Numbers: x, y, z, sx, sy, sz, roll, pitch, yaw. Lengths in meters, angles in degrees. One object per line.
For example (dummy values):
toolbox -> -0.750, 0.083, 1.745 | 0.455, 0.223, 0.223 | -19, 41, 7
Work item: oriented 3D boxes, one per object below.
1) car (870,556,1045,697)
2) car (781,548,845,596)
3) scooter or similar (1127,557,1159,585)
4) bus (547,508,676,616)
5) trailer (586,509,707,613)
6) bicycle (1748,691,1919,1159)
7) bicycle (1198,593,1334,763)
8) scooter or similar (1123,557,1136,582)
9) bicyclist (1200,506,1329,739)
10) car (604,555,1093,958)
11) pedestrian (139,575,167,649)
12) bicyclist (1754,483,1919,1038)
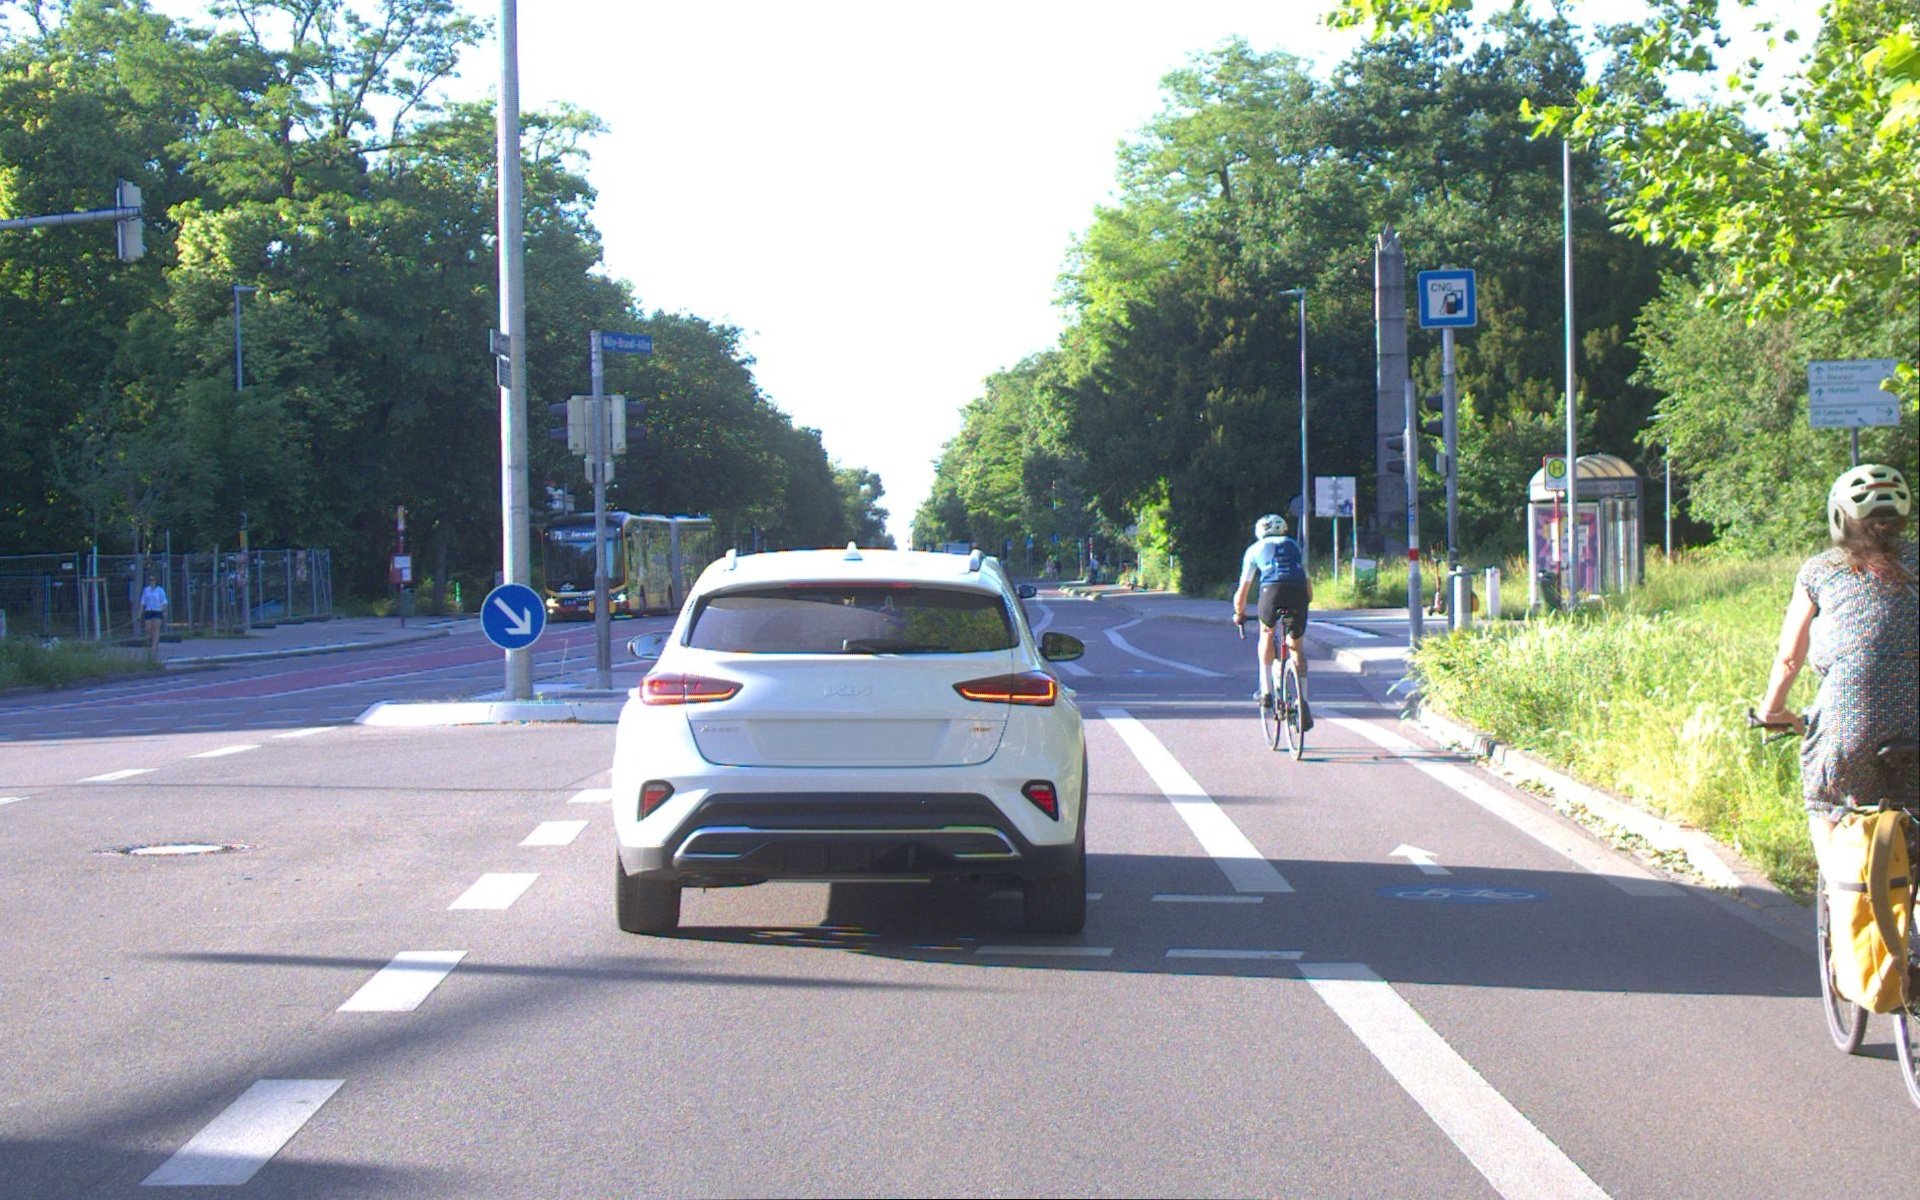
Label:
car -> 0.017, 0.255, 37.471 | 1.676, 1.413, 3.573 | -2, 1, 3
car -> -4.710, -0.919, 110.701 | 1.710, 1.416, 4.554 | -1, 1, 2
scooter or similar -> 8.336, -1.333, 156.645 | 1.537, 1.245, 0.534 | -2, 1, -43
bus -> -10.787, -1.188, 107.225 | 2.840, 3.186, 8.599 | -2, 1, 2
trailer -> -10.507, -1.305, 116.175 | 2.855, 3.344, 9.362 | 1, 0, 2
bicycle -> 2.642, 0.852, 9.751 | 0.693, 1.092, 2.135 | -1, 1, 11
bicycle -> 2.117, 0.512, 23.769 | 0.891, 1.092, 2.136 | 0, 1, 5
scooter or similar -> 8.588, -1.553, 174.497 | 0.533, 1.245, 1.541 | -1, 1, 0
bicyclist -> 2.088, 0.145, 23.603 | 0.860, 1.562, 0.881 | 0, 1, 5
car -> -0.533, 0.552, 14.389 | 1.761, 1.454, 3.818 | 1, 1, -4
pedestrian -> -16.914, 0.245, 72.066 | 0.451, 1.528, 0.571 | -2, 1, -4
bicyclist -> 2.604, 0.425, 9.597 | 0.693, 1.485, 0.800 | -1, 1, 11
